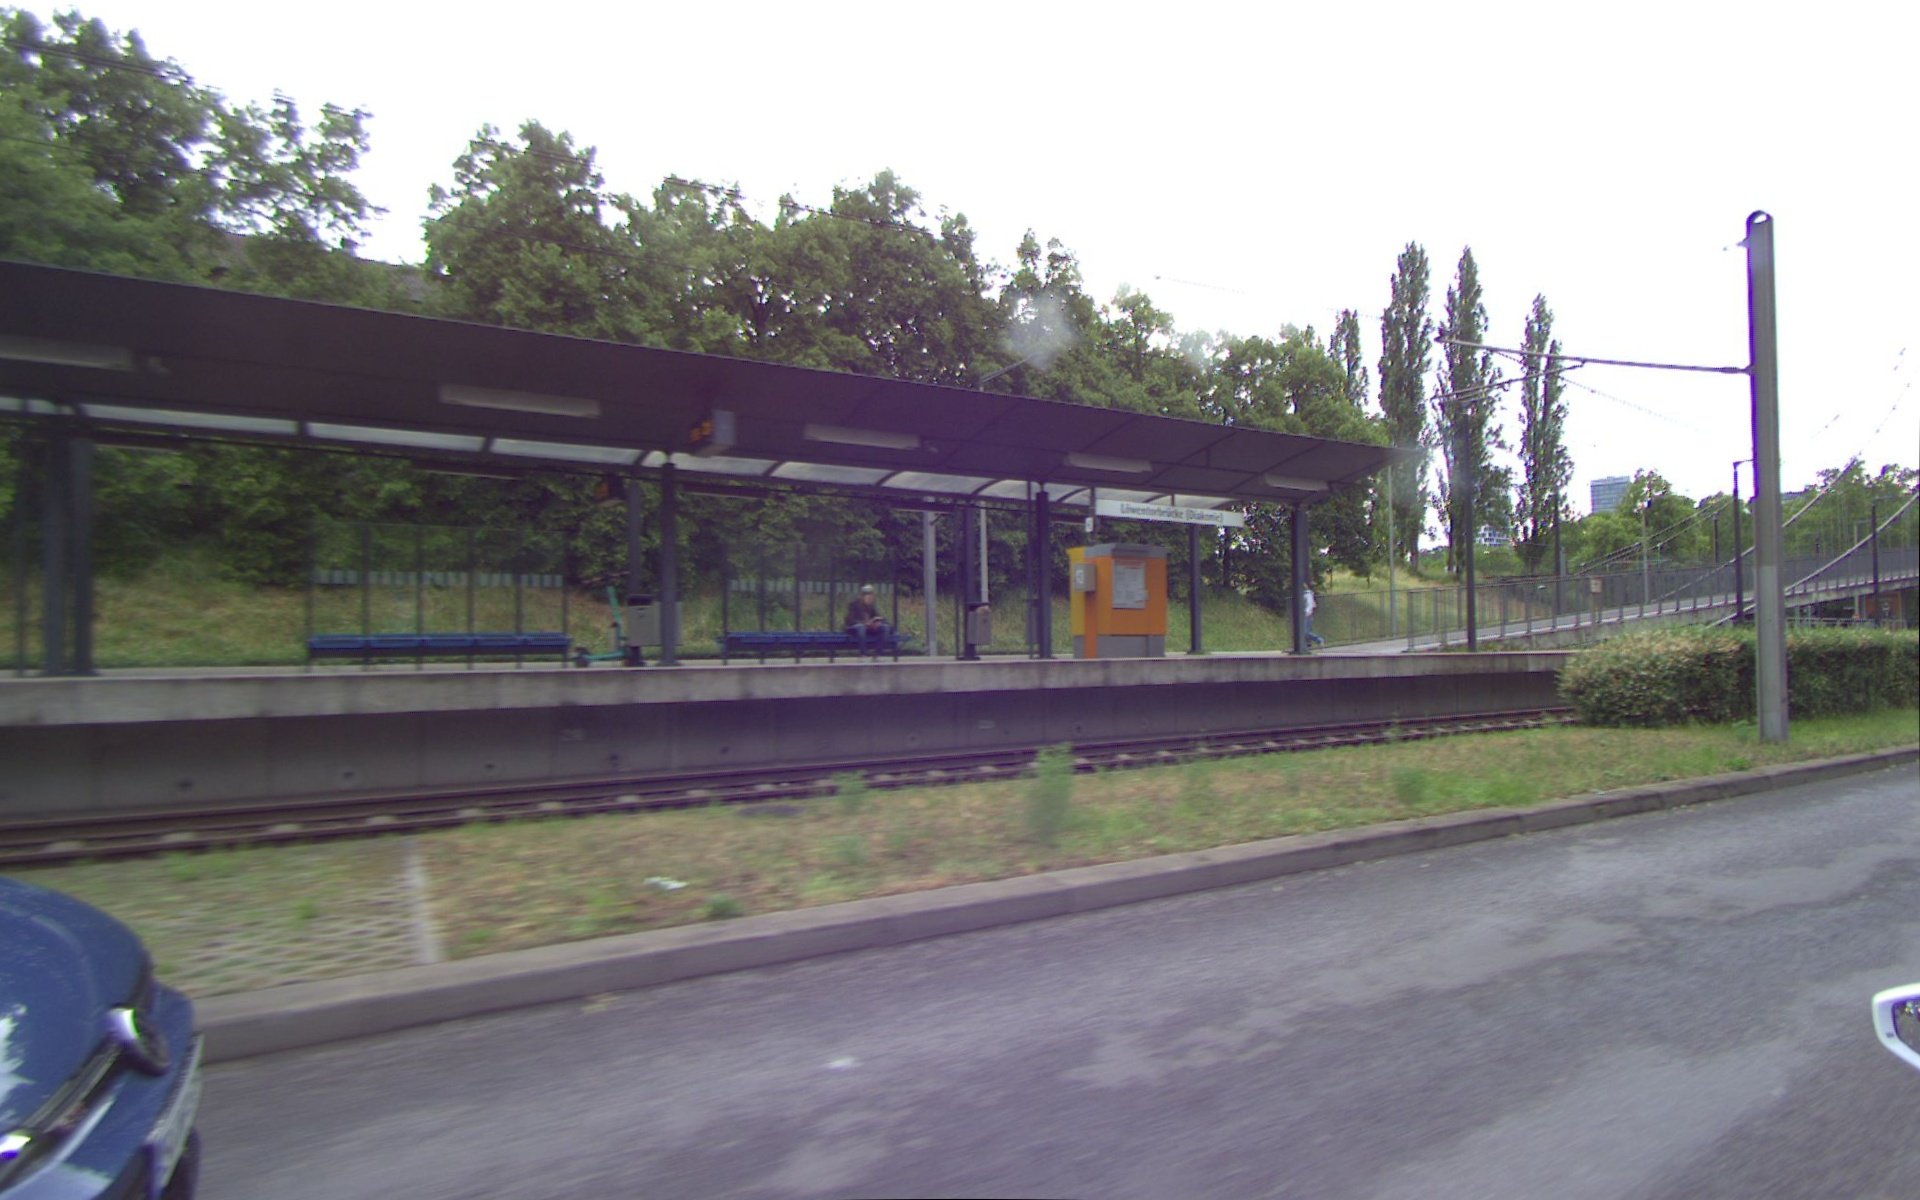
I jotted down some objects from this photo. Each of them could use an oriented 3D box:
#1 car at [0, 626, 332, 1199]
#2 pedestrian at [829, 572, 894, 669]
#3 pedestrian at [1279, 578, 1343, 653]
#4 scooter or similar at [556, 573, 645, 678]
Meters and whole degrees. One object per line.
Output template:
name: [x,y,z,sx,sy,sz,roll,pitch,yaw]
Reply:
car: [-3.212,0.731,1.005,4.296,1.397,1.799,1,-1,-31]
pedestrian: [-1.458,0.310,14.817,0.685,1.373,0.748,1,-2,-33]
pedestrian: [7.813,0.361,22.394,1.016,1.632,0.929,1,-2,-34]
scooter or similar: [-4.462,0.318,12.543,0.372,1.234,1.301,1,-1,13]
